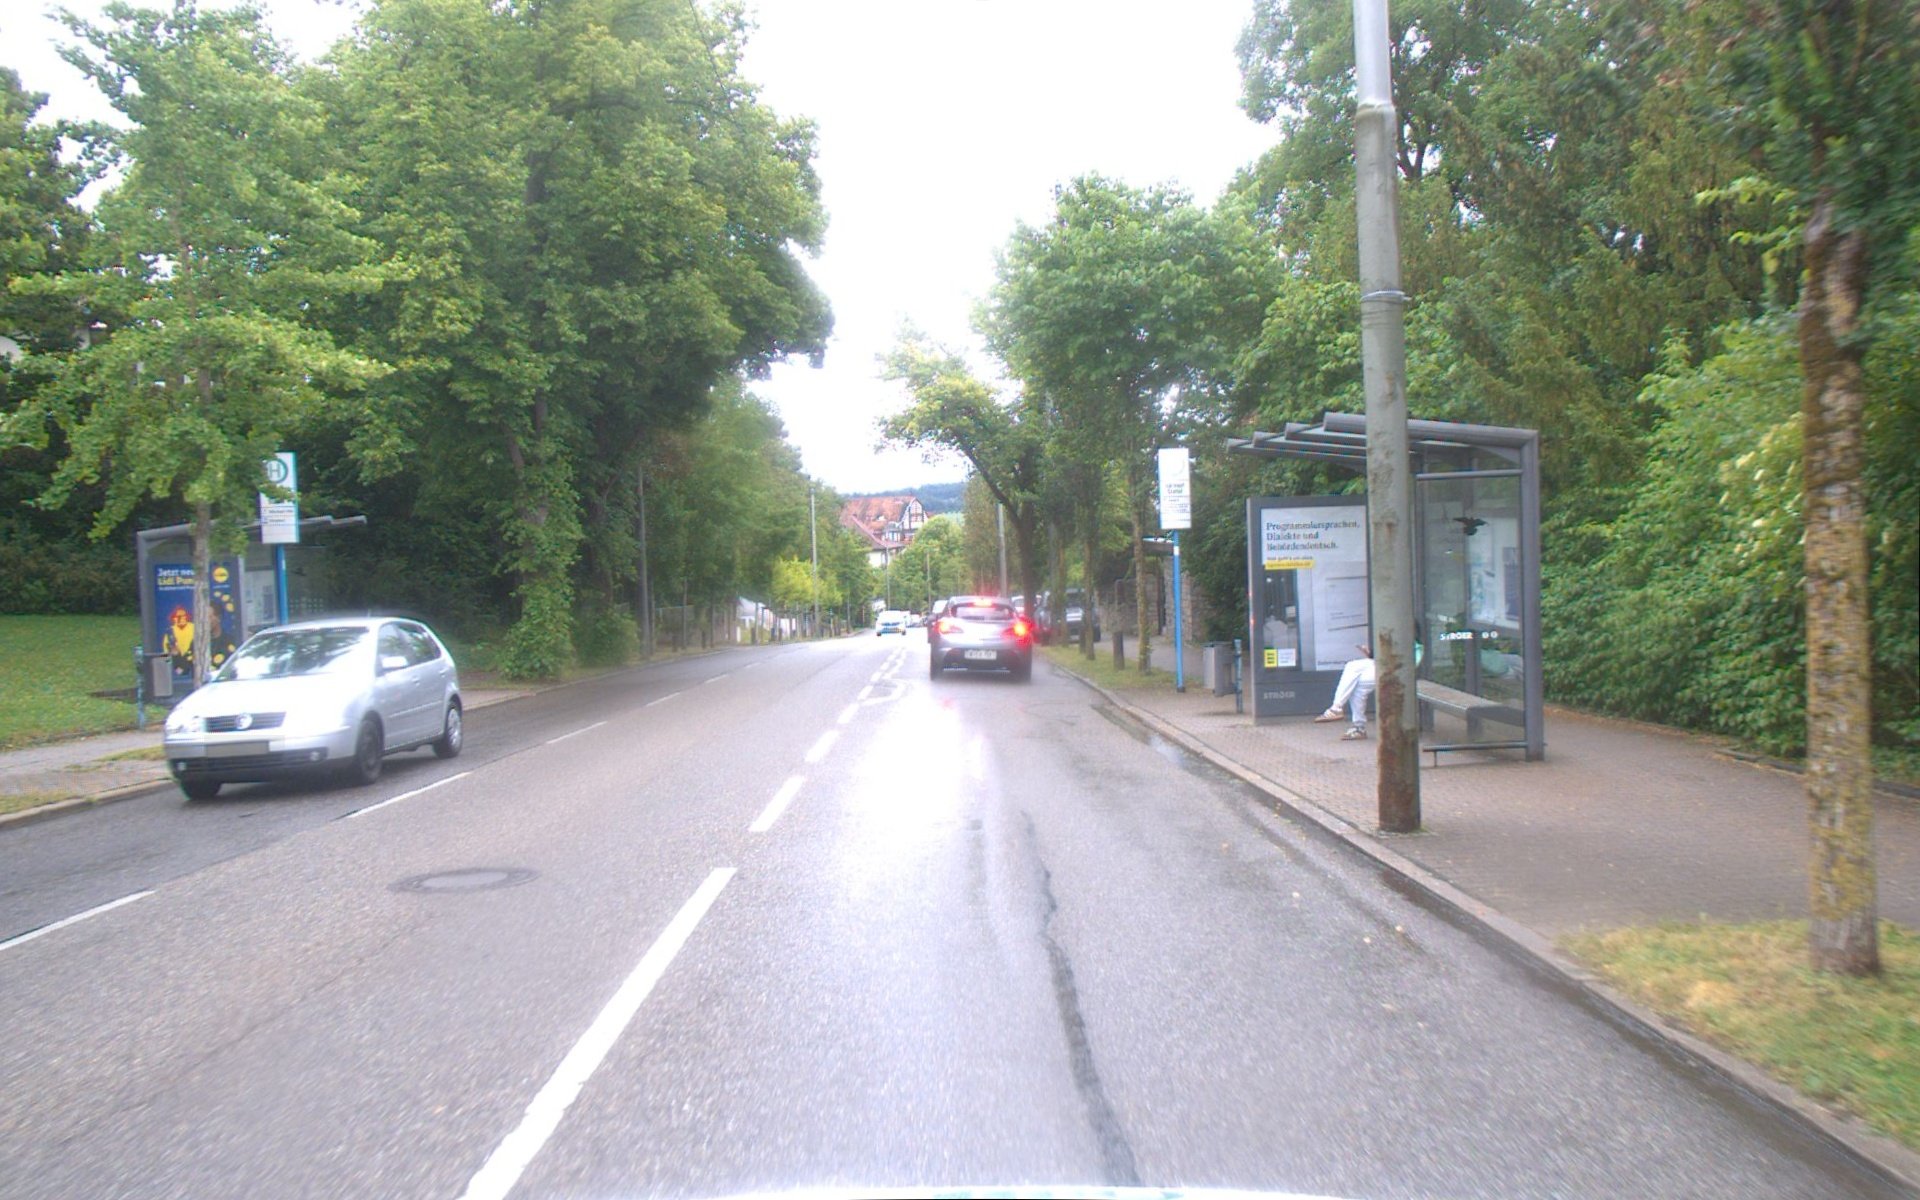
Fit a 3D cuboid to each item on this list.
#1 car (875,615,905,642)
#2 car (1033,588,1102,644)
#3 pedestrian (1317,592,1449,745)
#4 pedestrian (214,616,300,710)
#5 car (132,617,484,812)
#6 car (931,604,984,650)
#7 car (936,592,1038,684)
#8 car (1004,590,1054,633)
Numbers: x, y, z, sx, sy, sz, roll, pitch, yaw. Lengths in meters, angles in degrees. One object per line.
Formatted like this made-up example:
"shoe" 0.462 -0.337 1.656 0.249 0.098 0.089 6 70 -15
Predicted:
"car" -4.231 1.722 100.402 1.686 1.489 4.000 2 1 -1
"car" 3.132 0.434 48.718 1.686 1.489 4.000 -3 1 0
"pedestrian" 4.048 0.641 15.906 1.051 1.379 0.919 -2 0 6
"pedestrian" -11.269 0.999 26.522 0.918 1.428 0.919 1 1 6
"car" -5.879 0.950 15.460 1.686 1.423 4.000 -3 1 -1
"car" -0.094 0.937 56.408 1.718 1.490 3.999 1 -1 -1
"car" 0.494 0.644 30.372 1.718 1.489 4.001 1 1 1
"car" 2.638 0.418 63.870 1.686 1.489 4.000 -3 1 0
